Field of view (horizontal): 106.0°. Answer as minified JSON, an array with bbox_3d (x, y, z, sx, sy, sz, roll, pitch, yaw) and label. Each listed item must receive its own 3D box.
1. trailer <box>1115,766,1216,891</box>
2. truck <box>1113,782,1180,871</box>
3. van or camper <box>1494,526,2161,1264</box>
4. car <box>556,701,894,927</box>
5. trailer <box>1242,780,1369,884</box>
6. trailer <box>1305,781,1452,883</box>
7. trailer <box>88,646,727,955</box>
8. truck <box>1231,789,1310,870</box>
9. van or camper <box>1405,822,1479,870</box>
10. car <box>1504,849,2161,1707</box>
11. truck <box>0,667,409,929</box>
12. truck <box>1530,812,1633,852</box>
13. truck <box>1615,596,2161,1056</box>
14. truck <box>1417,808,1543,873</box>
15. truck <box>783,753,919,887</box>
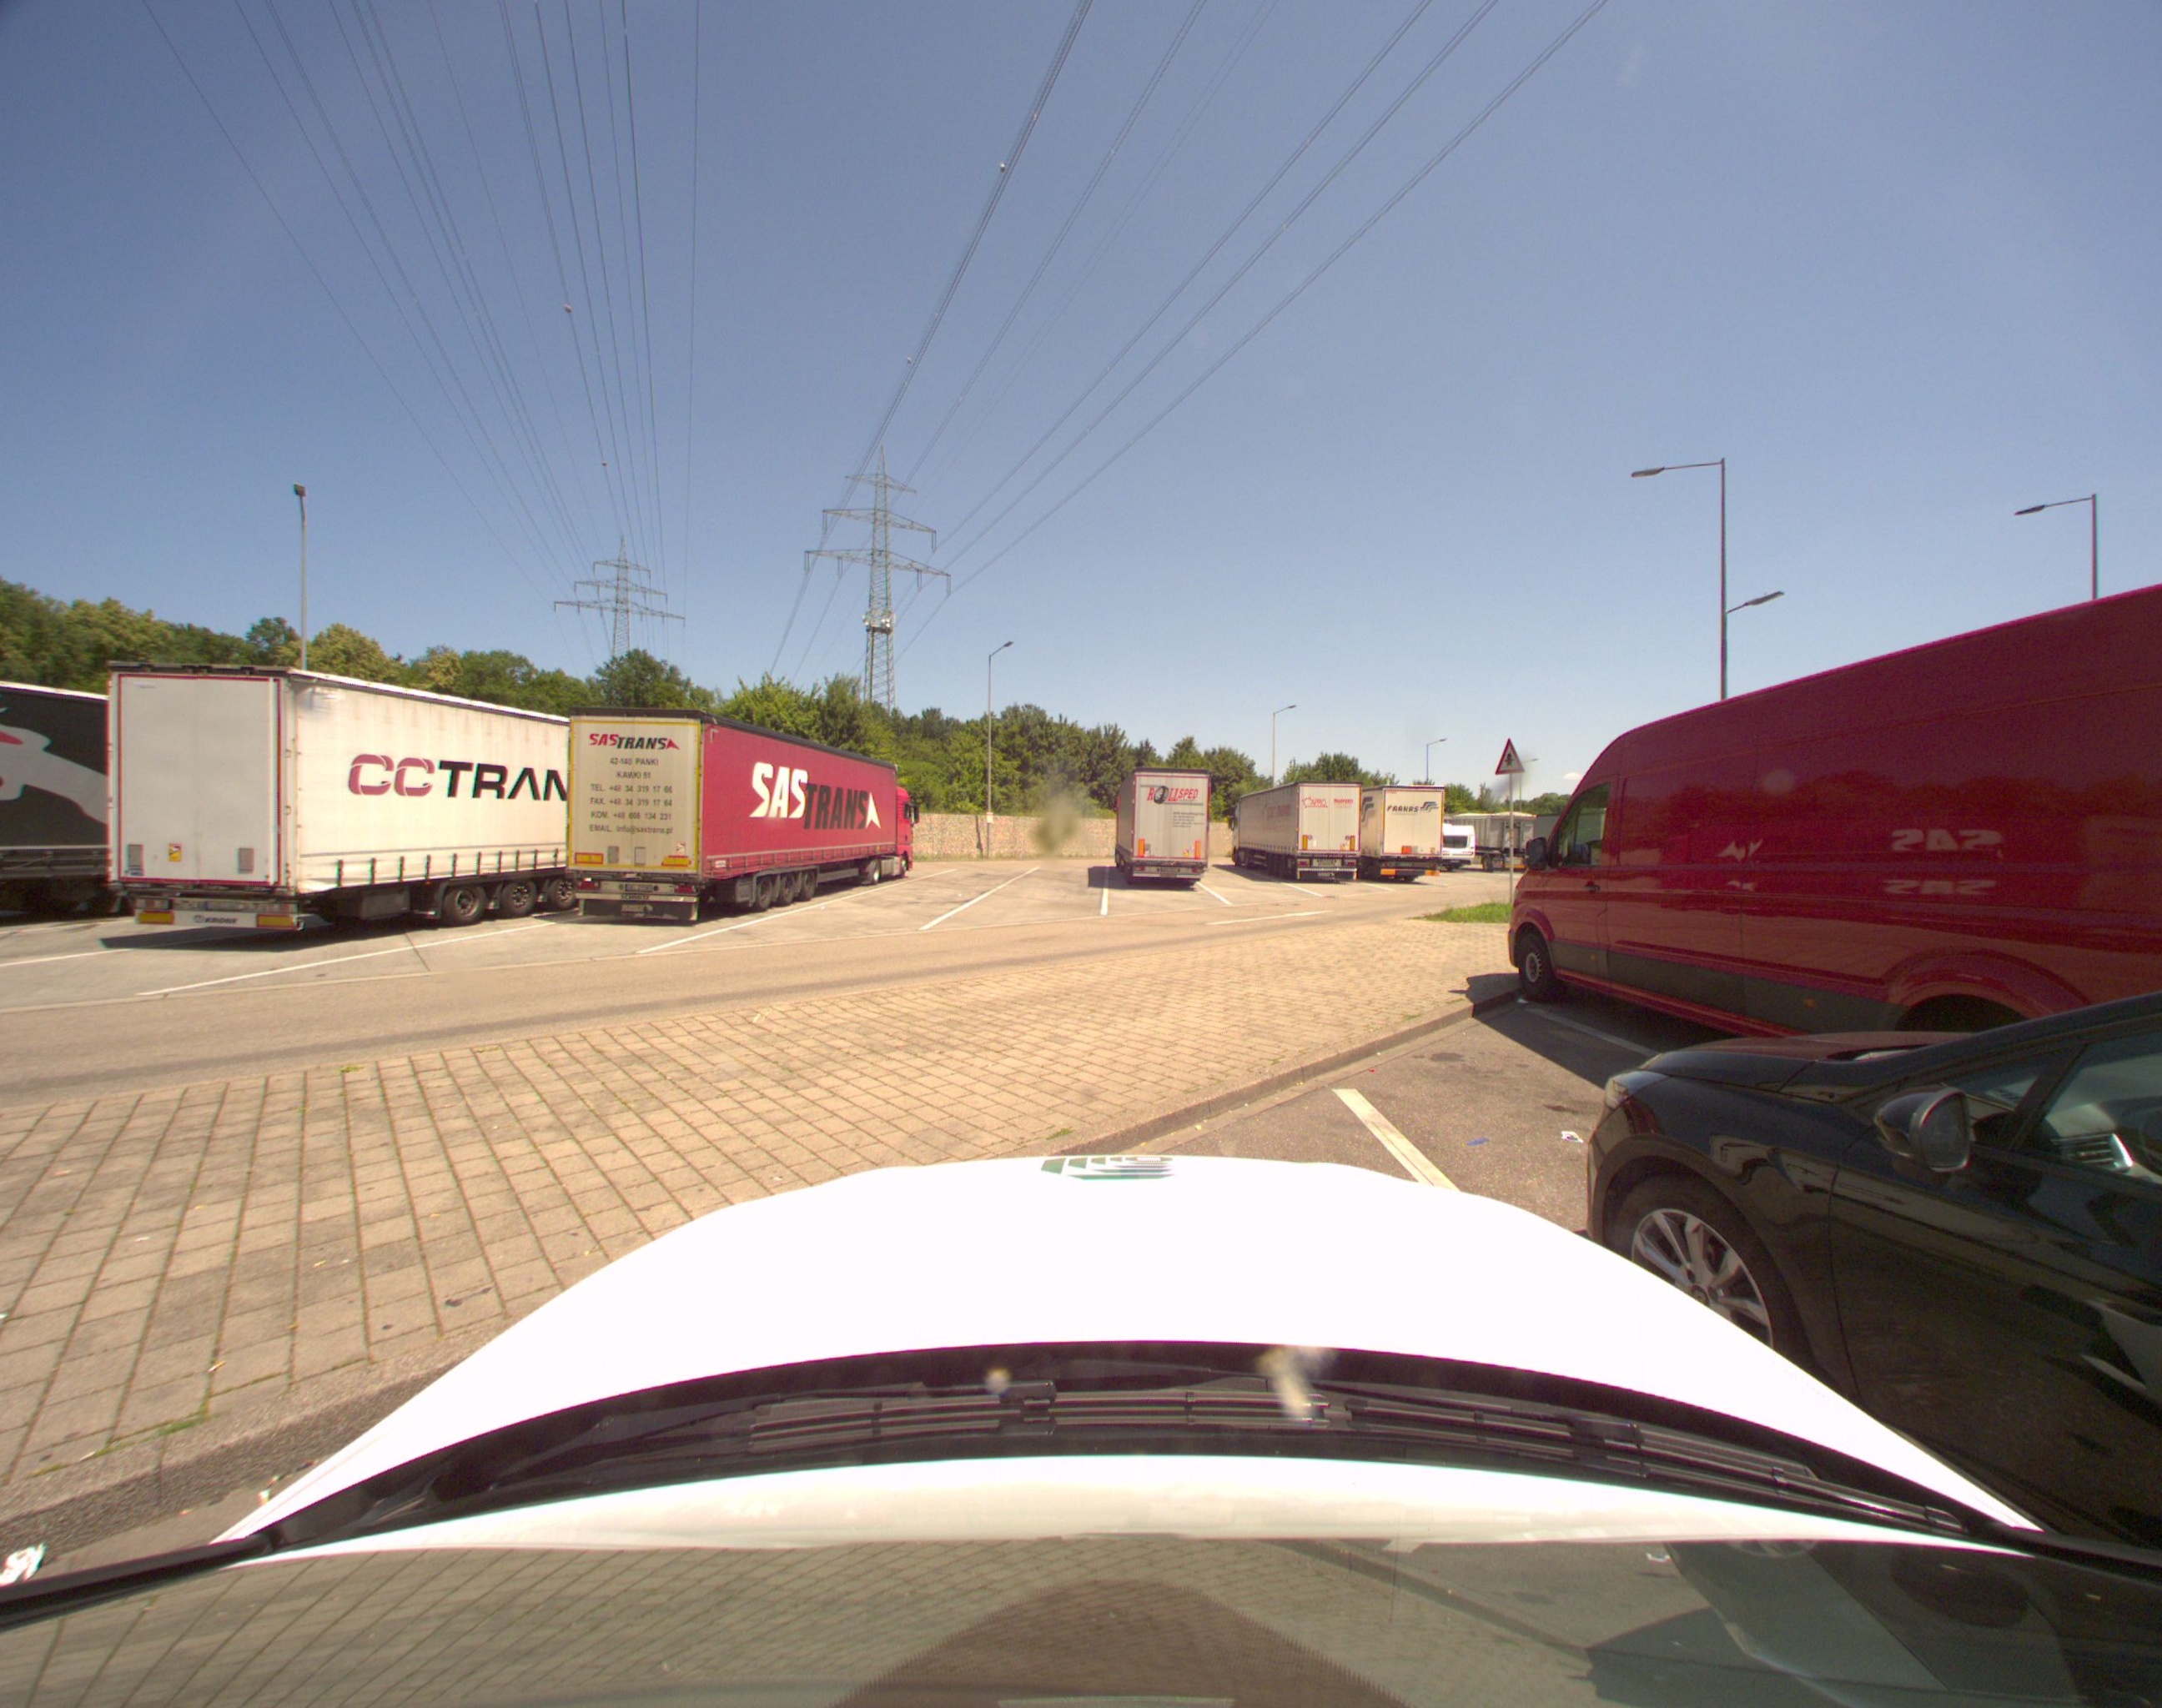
[{"bbox_3d":[3.048,-1.104,33.735,2.857,4.037,14.244,0,2,1],"label":"trailer"},{"bbox_3d":[3.141,-1.394,40.823,2.857,4.037,7.029,0,2,1],"label":"truck"},{"bbox_3d":[5.141,0.102,5.499,1.986,2.654,6.490,-1,1,6],"label":"van or camper"},{"bbox_3d":[-8.046,-0.936,21.438,2.686,4.112,12.943,1,2,2],"label":"car"},{"bbox_3d":[9.956,-1.103,37.908,2.856,4.037,12.445,1,2,2],"label":"trailer"},{"bbox_3d":[13.644,-1.122,38.883,2.856,4.037,12.445,1,2,2],"label":"trailer"},{"bbox_3d":[-12.160,-0.978,17.795,2.803,4.266,12.947,0,2,2],"label":"trailer"},{"bbox_3d":[10.182,-1.367,44.540,2.856,4.037,6.960,1,2,2],"label":"truck"},{"bbox_3d":[20.592,-0.463,46.747,2.096,2.561,5.376,-1,1,3],"label":"van or camper"},{"bbox_3d":[2.458,0.756,1.147,1.612,1.483,3.762,-1,1,-4],"label":"car"},{"bbox_3d":[-18.615,-1.026,16.275,2.803,4.190,8.793,0,2,2],"label":"truck"},{"bbox_3d":[38.036,-1.639,62.385,2.117,2.820,9.783,-1,1,2],"label":"truck"},{"bbox_3d":[7.942,-0.209,7.071,2.455,2.792,6.978,0,1,4],"label":"truck"},{"bbox_3d":[24.302,-0.954,50.507,2.478,3.568,11.429,1,2,2],"label":"truck"},{"bbox_3d":[-7.747,-1.155,28.355,2.686,4.112,6.243,1,2,2],"label":"truck"}]
